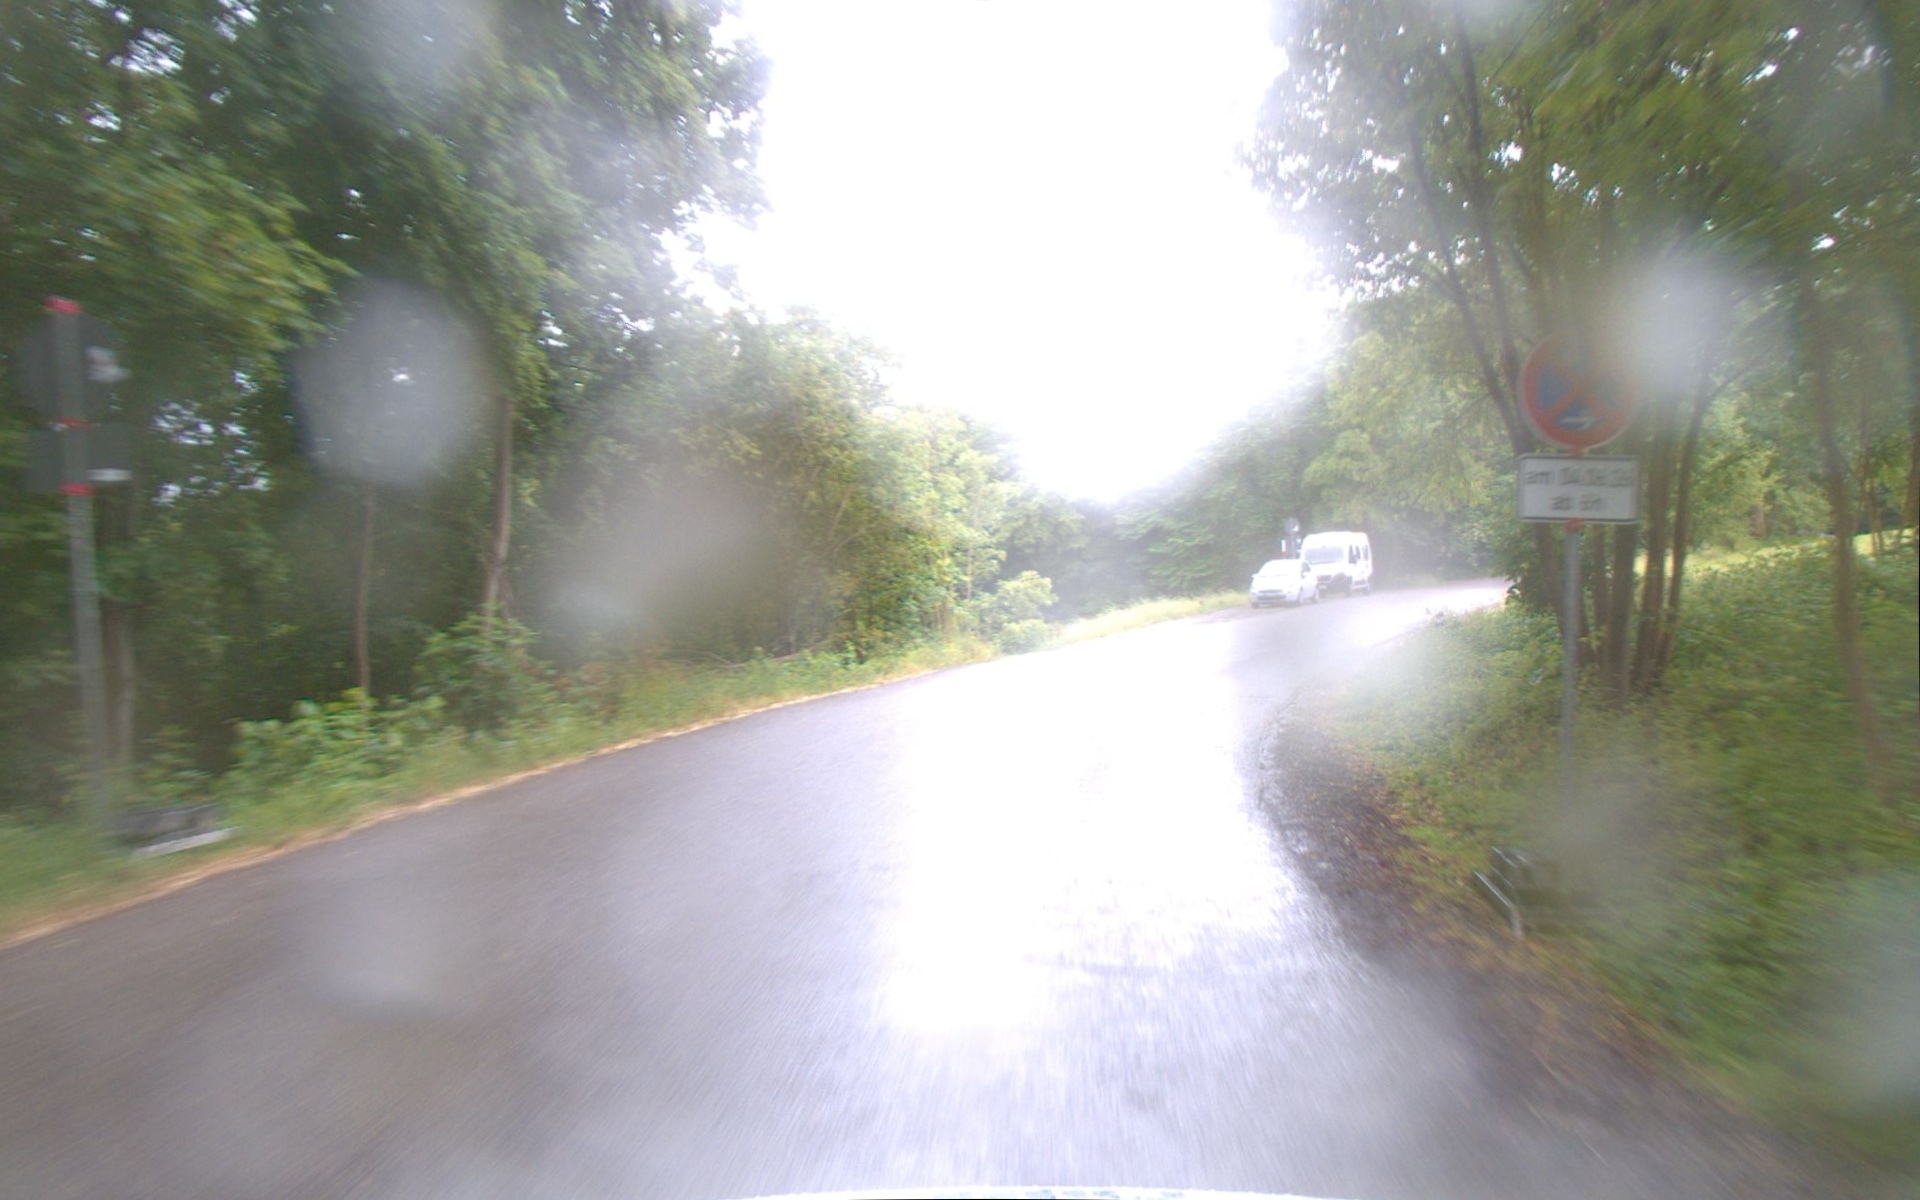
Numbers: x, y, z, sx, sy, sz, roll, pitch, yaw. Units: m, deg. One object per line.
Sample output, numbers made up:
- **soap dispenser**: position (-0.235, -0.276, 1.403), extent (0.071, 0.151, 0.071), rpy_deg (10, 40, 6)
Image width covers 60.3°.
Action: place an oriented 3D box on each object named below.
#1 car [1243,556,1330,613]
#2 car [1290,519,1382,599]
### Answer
- **car**: position (10.965, -0.548, 55.357), extent (1.824, 1.623, 4.494), rpy_deg (-3, 2, 24)
- **car**: position (14.735, -1.636, 64.509), extent (2.227, 2.743, 6.048), rpy_deg (-4, 1, 24)
